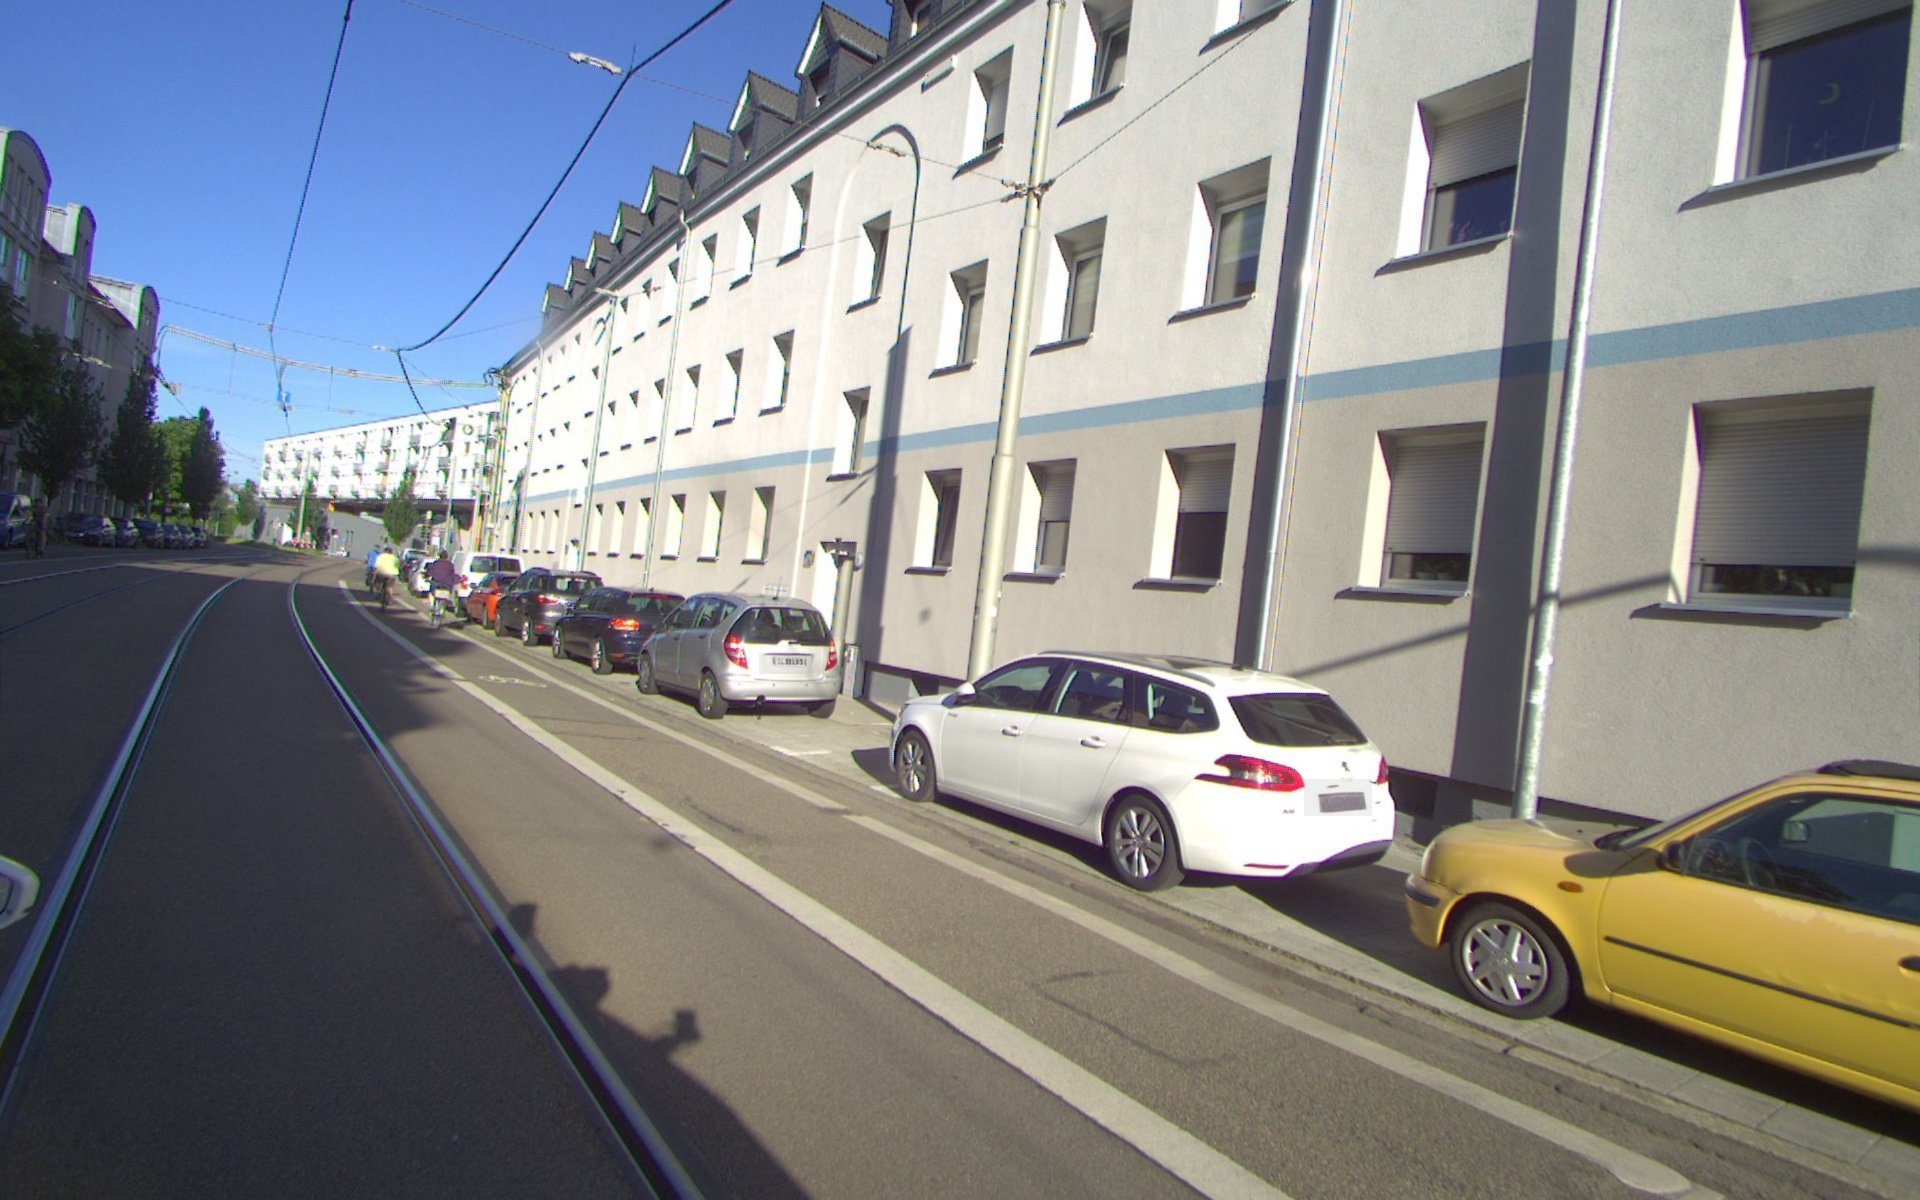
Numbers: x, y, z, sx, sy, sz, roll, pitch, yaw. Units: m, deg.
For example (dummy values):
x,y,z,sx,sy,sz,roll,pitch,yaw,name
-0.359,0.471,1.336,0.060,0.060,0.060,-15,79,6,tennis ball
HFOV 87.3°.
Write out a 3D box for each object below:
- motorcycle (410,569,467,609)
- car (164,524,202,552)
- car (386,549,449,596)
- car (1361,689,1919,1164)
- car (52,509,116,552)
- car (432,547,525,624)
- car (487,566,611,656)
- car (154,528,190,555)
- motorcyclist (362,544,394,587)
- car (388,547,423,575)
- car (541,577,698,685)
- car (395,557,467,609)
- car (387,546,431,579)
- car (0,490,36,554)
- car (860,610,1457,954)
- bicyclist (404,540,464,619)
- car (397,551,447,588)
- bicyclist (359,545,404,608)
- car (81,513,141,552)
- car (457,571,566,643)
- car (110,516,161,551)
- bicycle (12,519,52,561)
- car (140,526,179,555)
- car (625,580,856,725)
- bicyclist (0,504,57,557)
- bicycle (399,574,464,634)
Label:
x,y,z,sx,sy,sz,roll,pitch,yaw,name
-18.021,-0.376,34.750,1.737,1.158,0.492,7,0,14,motorcycle
-55.133,-4.421,71.435,1.834,1.665,3.662,8,-1,-35,car
-23.640,-1.227,43.773,1.834,1.665,3.924,8,-1,-35,car
4.035,1.368,4.149,1.505,1.448,4.160,6,-1,-37,car
-40.601,-3.205,46.696,1.655,1.637,3.963,8,-1,-35,car
-14.671,-0.480,30.508,1.775,1.995,4.115,6,0,-35,car
-9.207,0.193,22.368,1.649,1.692,3.867,3,1,-35,car
-52.087,-3.875,66.518,1.583,1.559,3.161,8,-1,-35,car
-20.881,-1.228,36.074,0.724,1.422,1.010,7,0,-37,motorcyclist
-40.020,-2.842,72.568,1.832,1.665,4.177,8,-1,-32,car
-6.249,0.495,18.191,1.581,1.557,3.970,5,0,-35,car
-20.972,-0.705,39.781,1.834,1.665,4.505,8,-1,-35,car
-35.144,-2.423,64.129,1.834,1.777,4.505,8,-1,-35,car
-32.450,-2.693,33.505,1.655,2.010,4.304,8,-1,-34,car
1.145,1.086,7.778,1.670,1.590,4.465,6,0,-36,car
-12.296,-0.473,23.515,0.930,1.696,0.960,7,0,-37,bicyclist
-29.679,-1.690,55.477,1.834,1.665,3.927,8,-1,-35,car
-14.708,-0.612,25.562,0.724,1.479,1.010,7,0,-37,bicyclist
-43.722,-3.473,51.878,1.834,1.665,4.505,8,-1,-35,car
-11.820,0.150,26.393,1.786,1.501,3.743,8,-2,-35,car
-48.088,-3.878,58.743,1.834,1.665,4.505,8,-1,-35,car
-27.223,-1.758,29.528,0.619,1.115,1.941,5,0,-37,bicycle
-49.825,-3.715,62.672,1.583,1.559,3.161,8,-1,-35,car
-3.203,0.651,14.083,1.742,1.591,3.867,4,1,-35,car
-27.270,-2.023,29.342,1.178,1.346,1.083,8,-1,-39,bicyclist
-12.430,0.070,23.614,0.817,1.250,2.439,9,-4,-37,bicycle
